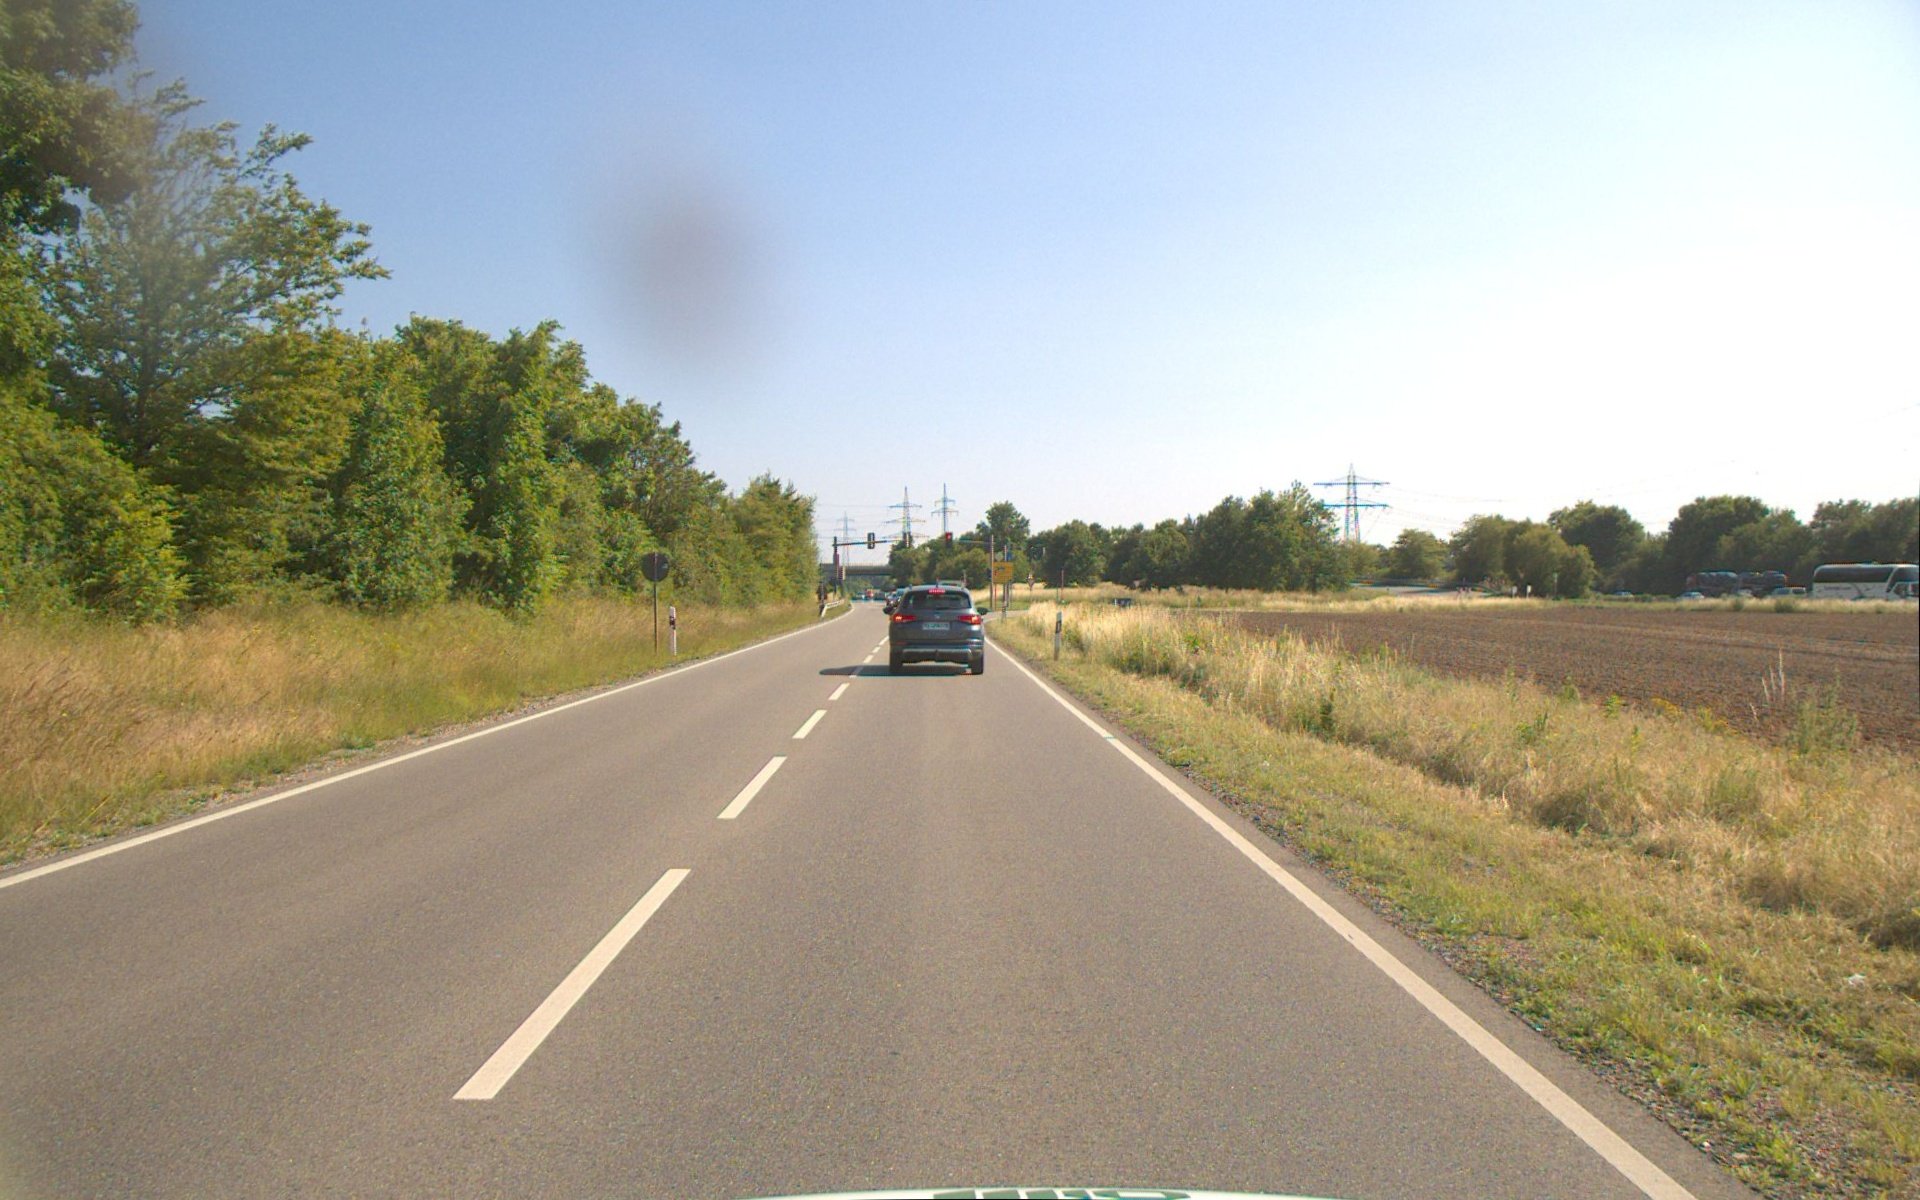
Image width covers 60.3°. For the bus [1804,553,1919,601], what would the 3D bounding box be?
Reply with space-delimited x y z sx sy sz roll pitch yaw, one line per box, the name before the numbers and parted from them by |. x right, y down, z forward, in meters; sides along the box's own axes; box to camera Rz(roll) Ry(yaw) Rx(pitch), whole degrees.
bus | 77.677 -1.957 141.895 2.414 3.870 14.538 0 1 -4

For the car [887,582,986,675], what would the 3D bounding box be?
car | -0.459 0.483 31.445 1.749 1.657 3.999 0 1 -1

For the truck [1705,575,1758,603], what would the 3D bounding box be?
truck | 93.426 -1.347 200.377 3.218 3.324 6.426 0 1 -2

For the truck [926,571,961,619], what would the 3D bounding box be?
truck | -1.094 -0.326 112.602 2.289 3.120 5.809 1 0 0

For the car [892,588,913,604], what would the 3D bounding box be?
car | -5.549 -0.404 159.592 1.780 1.567 3.996 0 0 -5

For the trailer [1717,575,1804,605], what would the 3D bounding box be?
trailer | 93.659 -1.255 193.807 3.218 3.324 13.448 0 1 -2
